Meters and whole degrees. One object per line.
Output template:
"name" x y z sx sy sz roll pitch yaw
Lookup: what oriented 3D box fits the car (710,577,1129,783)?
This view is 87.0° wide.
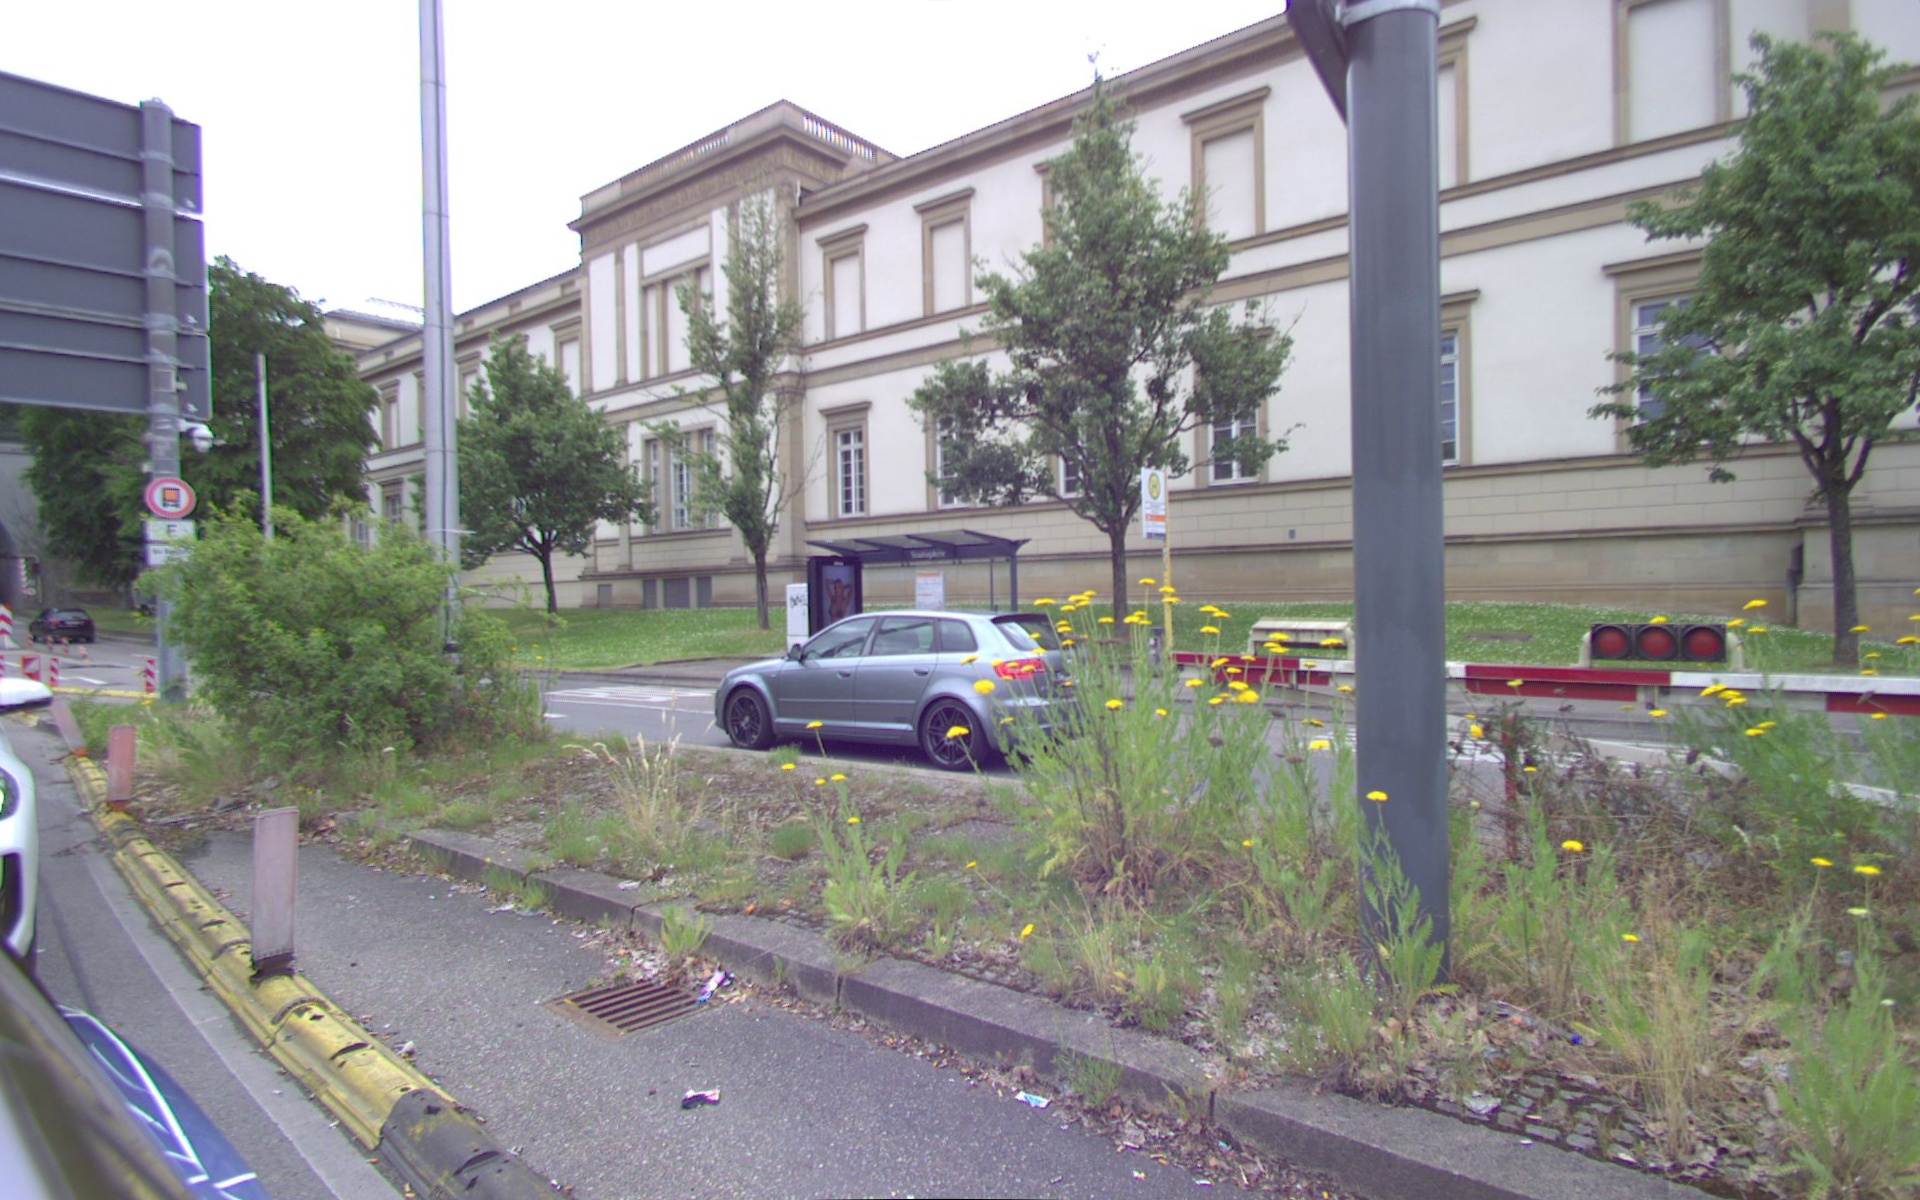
"car" -0.475 0.645 9.832 3.795 1.630 1.758 -1 0 35

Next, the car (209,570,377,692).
"car" -15.594 0.698 23.560 4.758 2.527 2.174 -2 -1 43

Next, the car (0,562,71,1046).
"car" -5.155 0.741 4.032 3.668 1.637 1.962 -2 -1 41

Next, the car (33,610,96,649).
"car" -42.196 1.347 47.652 4.001 1.736 1.920 -1 0 44
